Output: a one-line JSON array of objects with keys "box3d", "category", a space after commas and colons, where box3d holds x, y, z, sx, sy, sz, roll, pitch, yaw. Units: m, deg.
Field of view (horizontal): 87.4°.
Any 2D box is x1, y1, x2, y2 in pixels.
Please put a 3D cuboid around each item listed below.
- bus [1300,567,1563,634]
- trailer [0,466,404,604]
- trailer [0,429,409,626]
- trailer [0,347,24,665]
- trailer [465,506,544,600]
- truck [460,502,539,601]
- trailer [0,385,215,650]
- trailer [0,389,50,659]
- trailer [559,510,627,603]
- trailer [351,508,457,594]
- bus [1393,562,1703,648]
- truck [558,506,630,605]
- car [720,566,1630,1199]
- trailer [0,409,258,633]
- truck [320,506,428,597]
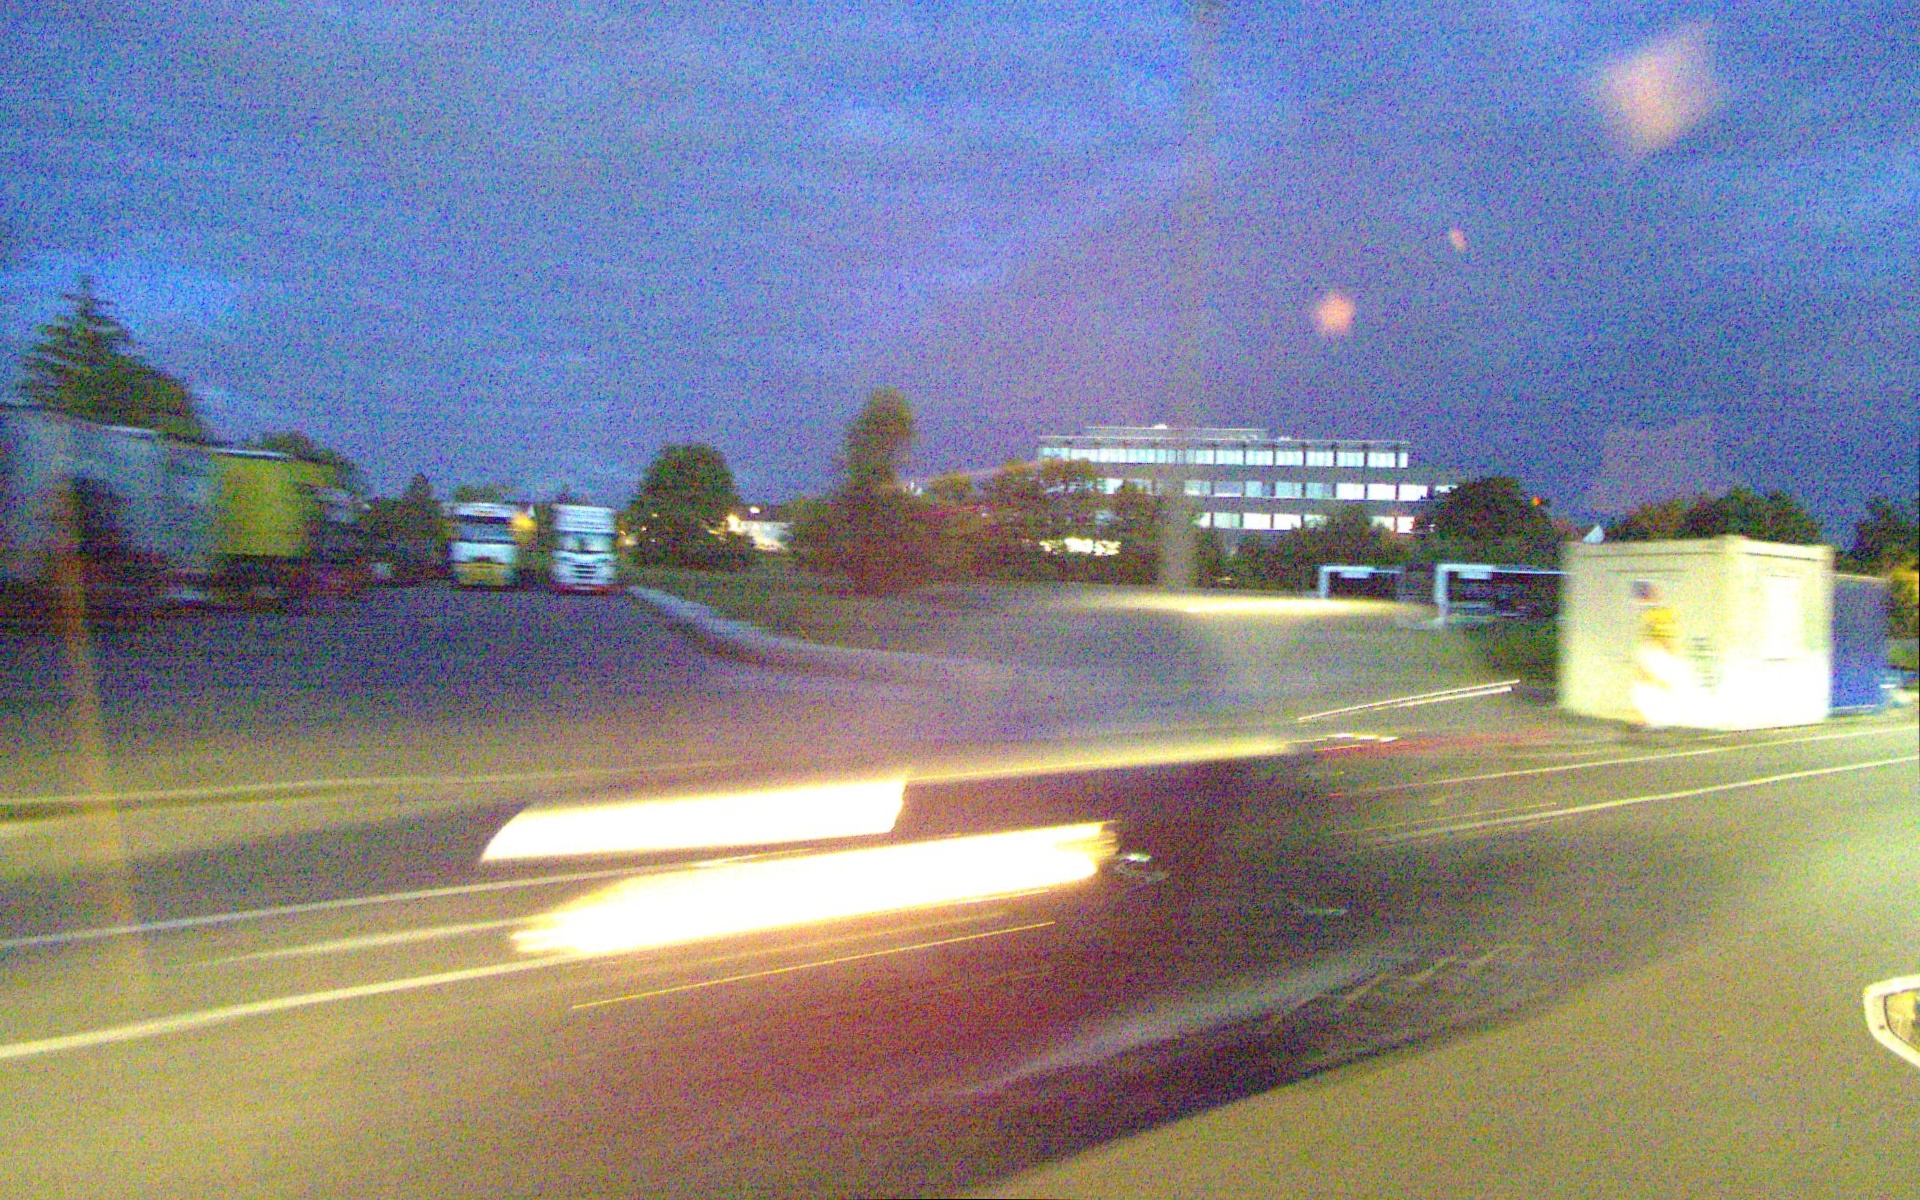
[{"box3d": [23.900, 0.008, 51.326, 12.033, 3.023, 2.953, 1, 1, -1], "category": "bus"}, {"box3d": [-29.413, -2.374, 37.532, 14.742, 4.416, 3.060, 2, 2, -12], "category": "trailer"}, {"box3d": [-22.562, -1.882, 25.438, 14.741, 4.416, 3.060, 2, 2, -12], "category": "trailer"}, {"box3d": [-18.928, -1.380, 9.663, 14.752, 3.985, 3.058, 2, 2, -15], "category": "trailer"}, {"box3d": [-23.488, -2.330, 52.285, 2.928, 4.292, 11.149, 1, 1, -21], "category": "trailer"}, {"box3d": [-21.875, -2.229, 48.017, 2.928, 4.292, 6.472, 1, 1, -21], "category": "truck"}, {"box3d": [-22.037, -1.684, 17.478, 14.731, 4.416, 3.062, 2, 2, -9], "category": "trailer"}, {"box3d": [-22.181, -1.447, 14.097, 14.727, 4.204, 3.063, 2, 2, -8], "category": "trailer"}, {"box3d": [-19.513, -2.198, 53.299, 2.928, 4.292, 11.879, 1, 1, -21], "category": "trailer"}, {"box3d": [-29.306, -2.465, 53.394, 3.046, 4.065, 9.224, 1, 1, -17], "category": "trailer"}, {"box3d": [24.728, 0.253, 42.273, 12.451, 3.247, 3.015, 1, 1, -12], "category": "bus"}, {"box3d": [-17.239, -2.025, 47.252, 2.928, 4.292, 4.711, 1, 1, -21], "category": "truck"}, {"box3d": [0.800, 0.767, 3.698, 2.922, 1.597, 1.688, 1, -1, -30], "category": "car"}, {"box3d": [-23.760, -1.863, 21.154, 14.732, 4.416, 3.062, 2, 2, -10], "category": "trailer"}, {"box3d": [-27.356, -2.206, 47.159, 3.120, 3.892, 5.825, 1, 1, -18], "category": "truck"}]
